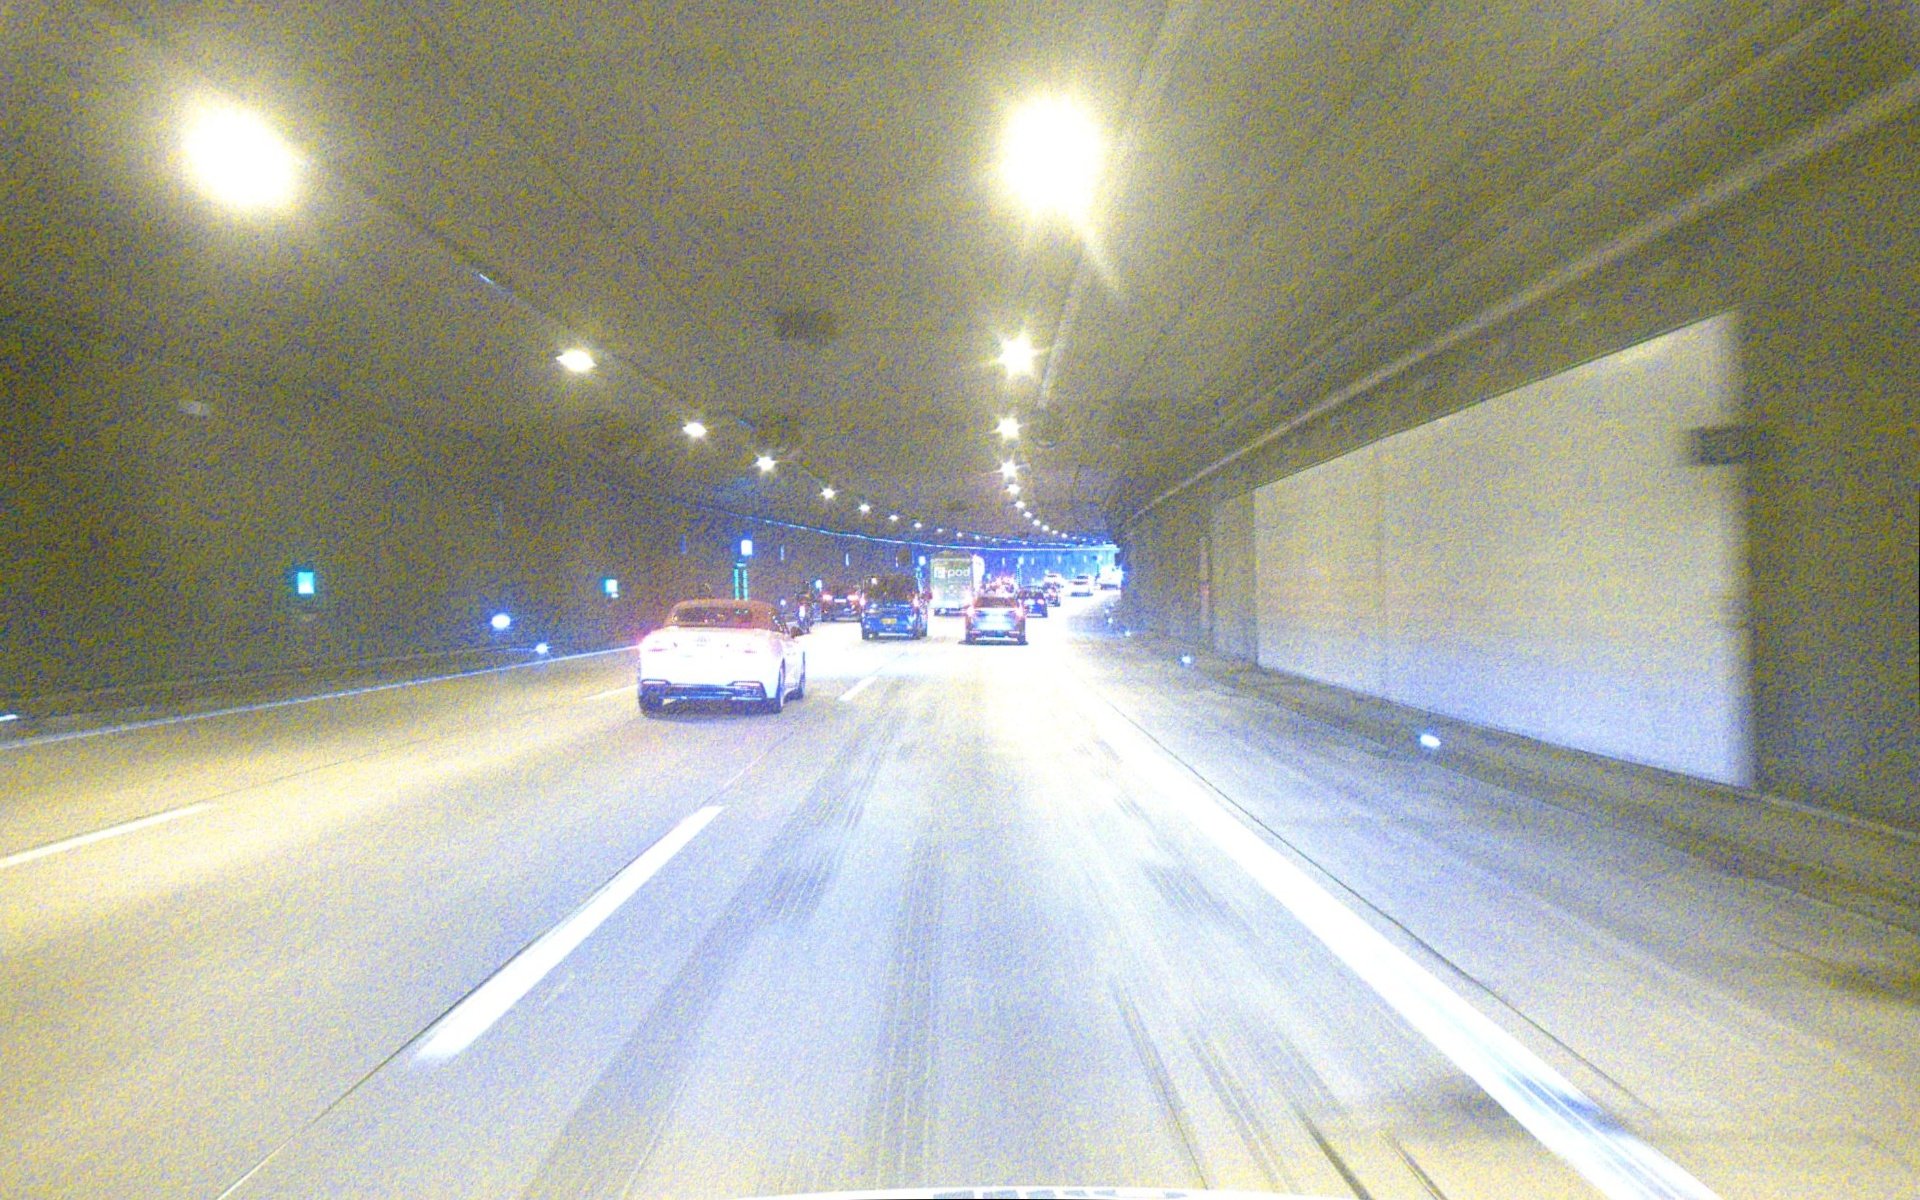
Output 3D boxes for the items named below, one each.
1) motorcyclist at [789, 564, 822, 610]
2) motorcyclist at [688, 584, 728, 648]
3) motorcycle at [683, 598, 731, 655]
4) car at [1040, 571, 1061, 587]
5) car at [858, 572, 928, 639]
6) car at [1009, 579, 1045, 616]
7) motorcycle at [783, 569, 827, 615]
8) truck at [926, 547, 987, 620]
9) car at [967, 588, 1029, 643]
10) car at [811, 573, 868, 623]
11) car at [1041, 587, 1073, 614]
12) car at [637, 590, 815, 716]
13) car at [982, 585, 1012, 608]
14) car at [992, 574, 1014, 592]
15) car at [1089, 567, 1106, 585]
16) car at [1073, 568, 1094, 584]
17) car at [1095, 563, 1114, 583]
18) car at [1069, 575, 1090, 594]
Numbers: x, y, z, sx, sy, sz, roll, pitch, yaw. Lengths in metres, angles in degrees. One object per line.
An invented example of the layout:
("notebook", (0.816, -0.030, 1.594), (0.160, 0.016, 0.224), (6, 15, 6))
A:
("motorcyclist", (-5.141, -0.418, 55.061), (0.789, 1.474, 1.866), (0, -1, 4))
("motorcyclist", (-5.947, 0.379, 39.091), (0.761, 1.478, 1.069), (0, -1, 1))
("motorcycle", (-5.954, 0.614, 39.069), (0.668, 1.319, 2.399), (0, 0, 2))
("car", (10.249, -2.366, 186.685), (1.889, 1.671, 4.003), (0, -1, 9))
("car", (-2.059, 0.138, 52.010), (1.870, 1.978, 3.873), (0, 2, 2))
("car", (3.478, -0.152, 86.676), (1.818, 1.887, 4.001), (0, 0, 2))
("motorcycle", (-5.142, -0.250, 55.090), (0.907, 1.459, 2.965), (1, -1, 5))
("truck", (-0.116, -0.841, 88.883), (2.976, 3.737, 7.395), (0, 0, 2))
("car", (1.163, 0.434, 49.180), (1.706, 1.489, 3.873), (0, 2, 3))
("car", (-5.024, -0.089, 69.409), (1.952, 2.049, 4.001), (0, 0, 3))
("car", (6.662, 0.046, 113.688), (1.910, 1.803, 3.999), (0, -1, 0))
("car", (-2.999, 0.617, 22.192), (1.667, 1.443, 5.060), (0, 1, 0))
("car", (2.758, -0.244, 122.868), (1.951, 1.660, 4.003), (1, 0, 6))
("car", (4.067, -1.574, 155.271), (1.890, 1.671, 4.002), (0, 0, 5))
("car", (16.585, -2.845, 199.895), (1.951, 2.049, 4.002), (0, -1, 6))
("car", (13.839, -2.667, 185.086), (1.951, 1.660, 4.003), (0, -1, 9))
("car", (15.799, -2.931, 180.923), (1.951, 2.049, 4.003), (0, -1, 7))
("car", (10.987, -1.435, 152.326), (1.890, 1.671, 4.001), (0, -1, 3))
